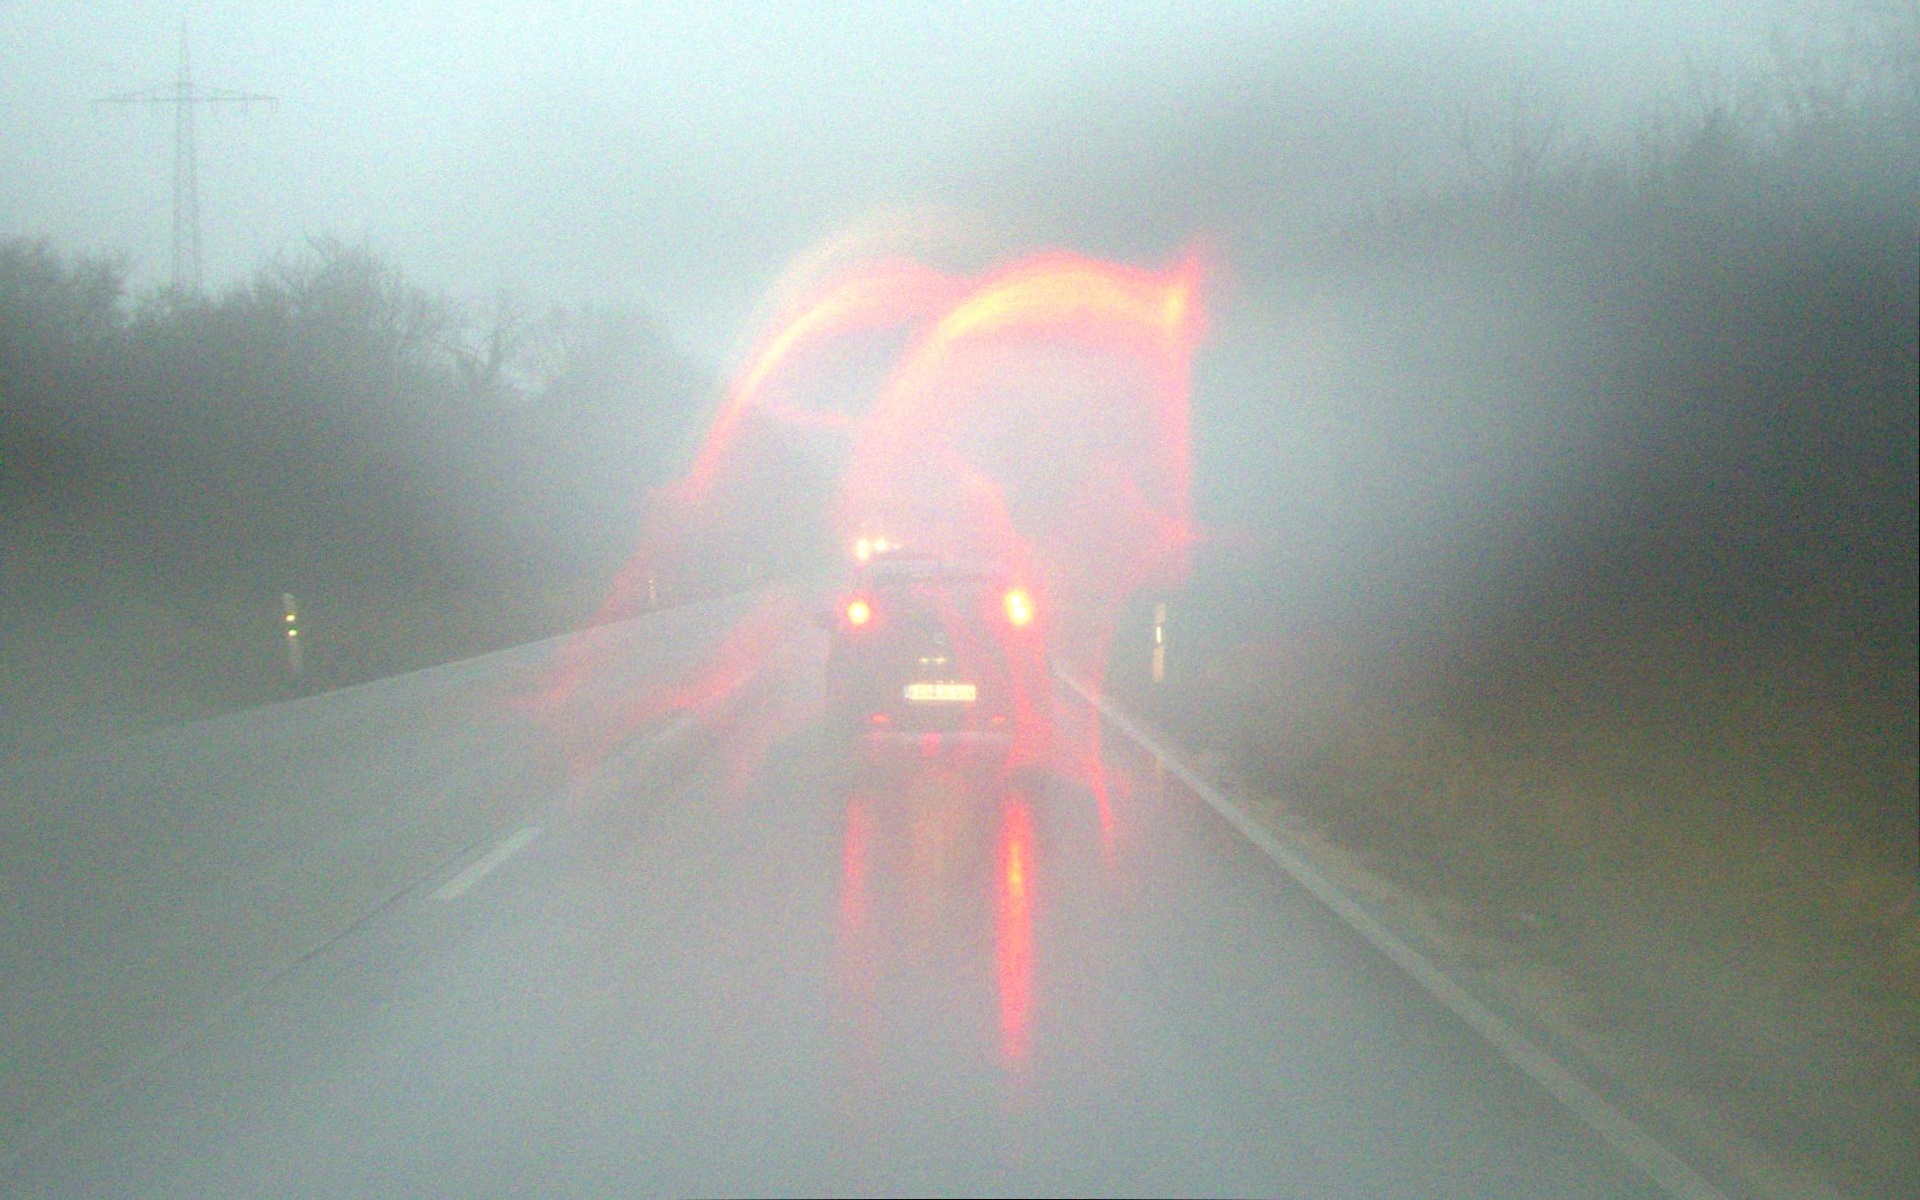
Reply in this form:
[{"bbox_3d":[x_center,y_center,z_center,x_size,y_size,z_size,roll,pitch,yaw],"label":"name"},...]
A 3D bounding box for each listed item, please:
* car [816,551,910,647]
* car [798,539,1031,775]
[{"bbox_3d":[-1.850,-0.044,66.292,1.733,1.773,4.000,1,1,-1],"label":"car"},{"bbox_3d":[-0.349,0.386,26.326,1.648,1.666,3.514,1,1,-1],"label":"car"}]
